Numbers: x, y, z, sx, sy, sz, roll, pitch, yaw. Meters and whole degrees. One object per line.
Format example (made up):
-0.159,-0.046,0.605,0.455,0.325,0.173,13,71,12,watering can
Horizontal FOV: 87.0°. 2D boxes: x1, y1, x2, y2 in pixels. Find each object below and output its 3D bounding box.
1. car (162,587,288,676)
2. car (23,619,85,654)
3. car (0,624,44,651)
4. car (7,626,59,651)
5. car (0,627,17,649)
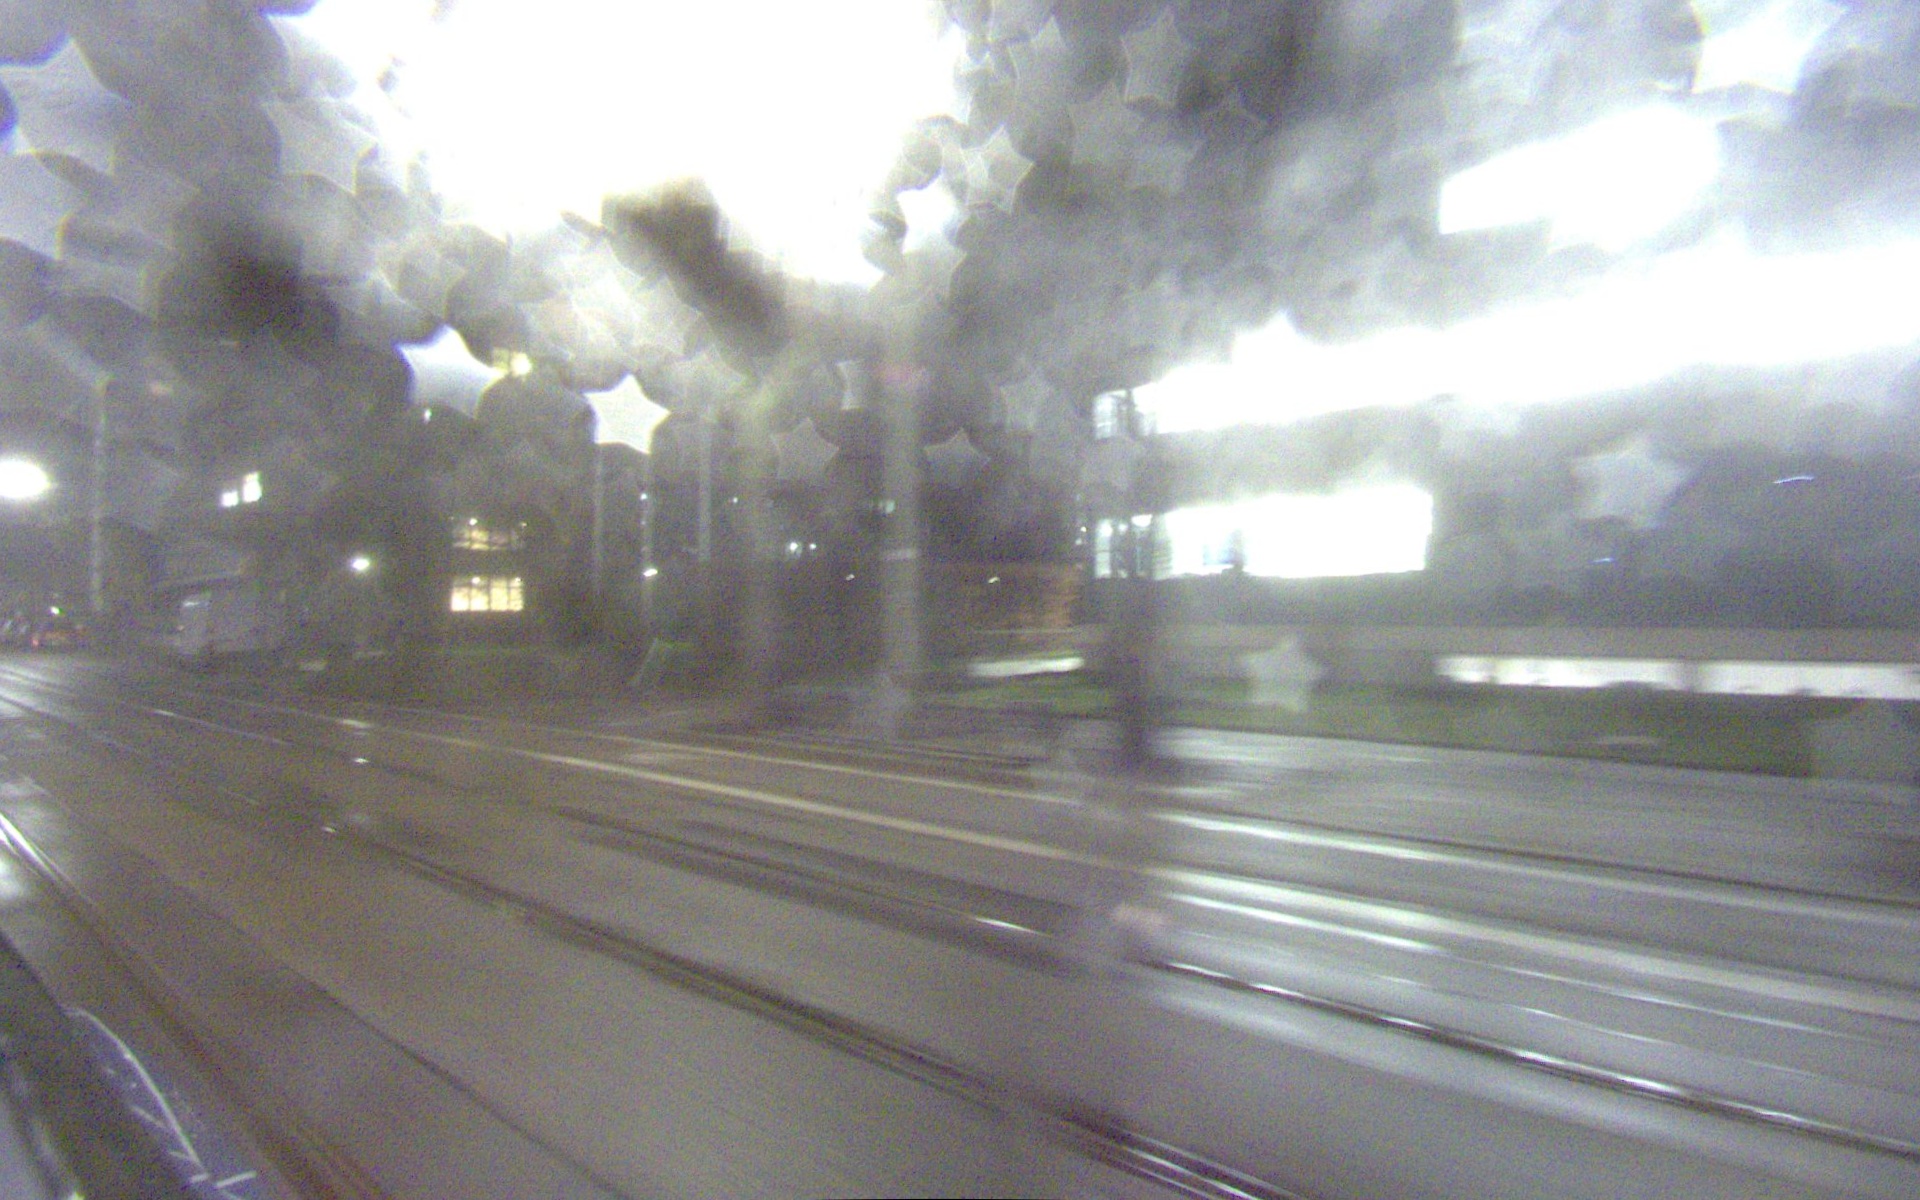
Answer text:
-23.789,1.006,32.655,6.392,2.611,2.161,-2,-2,44,car
-47.270,1.856,52.789,4.600,1.668,1.948,-1,1,43,car
-60.732,2.377,65.236,4.515,1.643,1.962,-1,-1,41,car
-55.296,2.299,60.369,3.909,1.432,1.674,-2,-3,38,car
-70.957,2.810,74.312,4.394,1.557,1.862,-1,2,39,car
